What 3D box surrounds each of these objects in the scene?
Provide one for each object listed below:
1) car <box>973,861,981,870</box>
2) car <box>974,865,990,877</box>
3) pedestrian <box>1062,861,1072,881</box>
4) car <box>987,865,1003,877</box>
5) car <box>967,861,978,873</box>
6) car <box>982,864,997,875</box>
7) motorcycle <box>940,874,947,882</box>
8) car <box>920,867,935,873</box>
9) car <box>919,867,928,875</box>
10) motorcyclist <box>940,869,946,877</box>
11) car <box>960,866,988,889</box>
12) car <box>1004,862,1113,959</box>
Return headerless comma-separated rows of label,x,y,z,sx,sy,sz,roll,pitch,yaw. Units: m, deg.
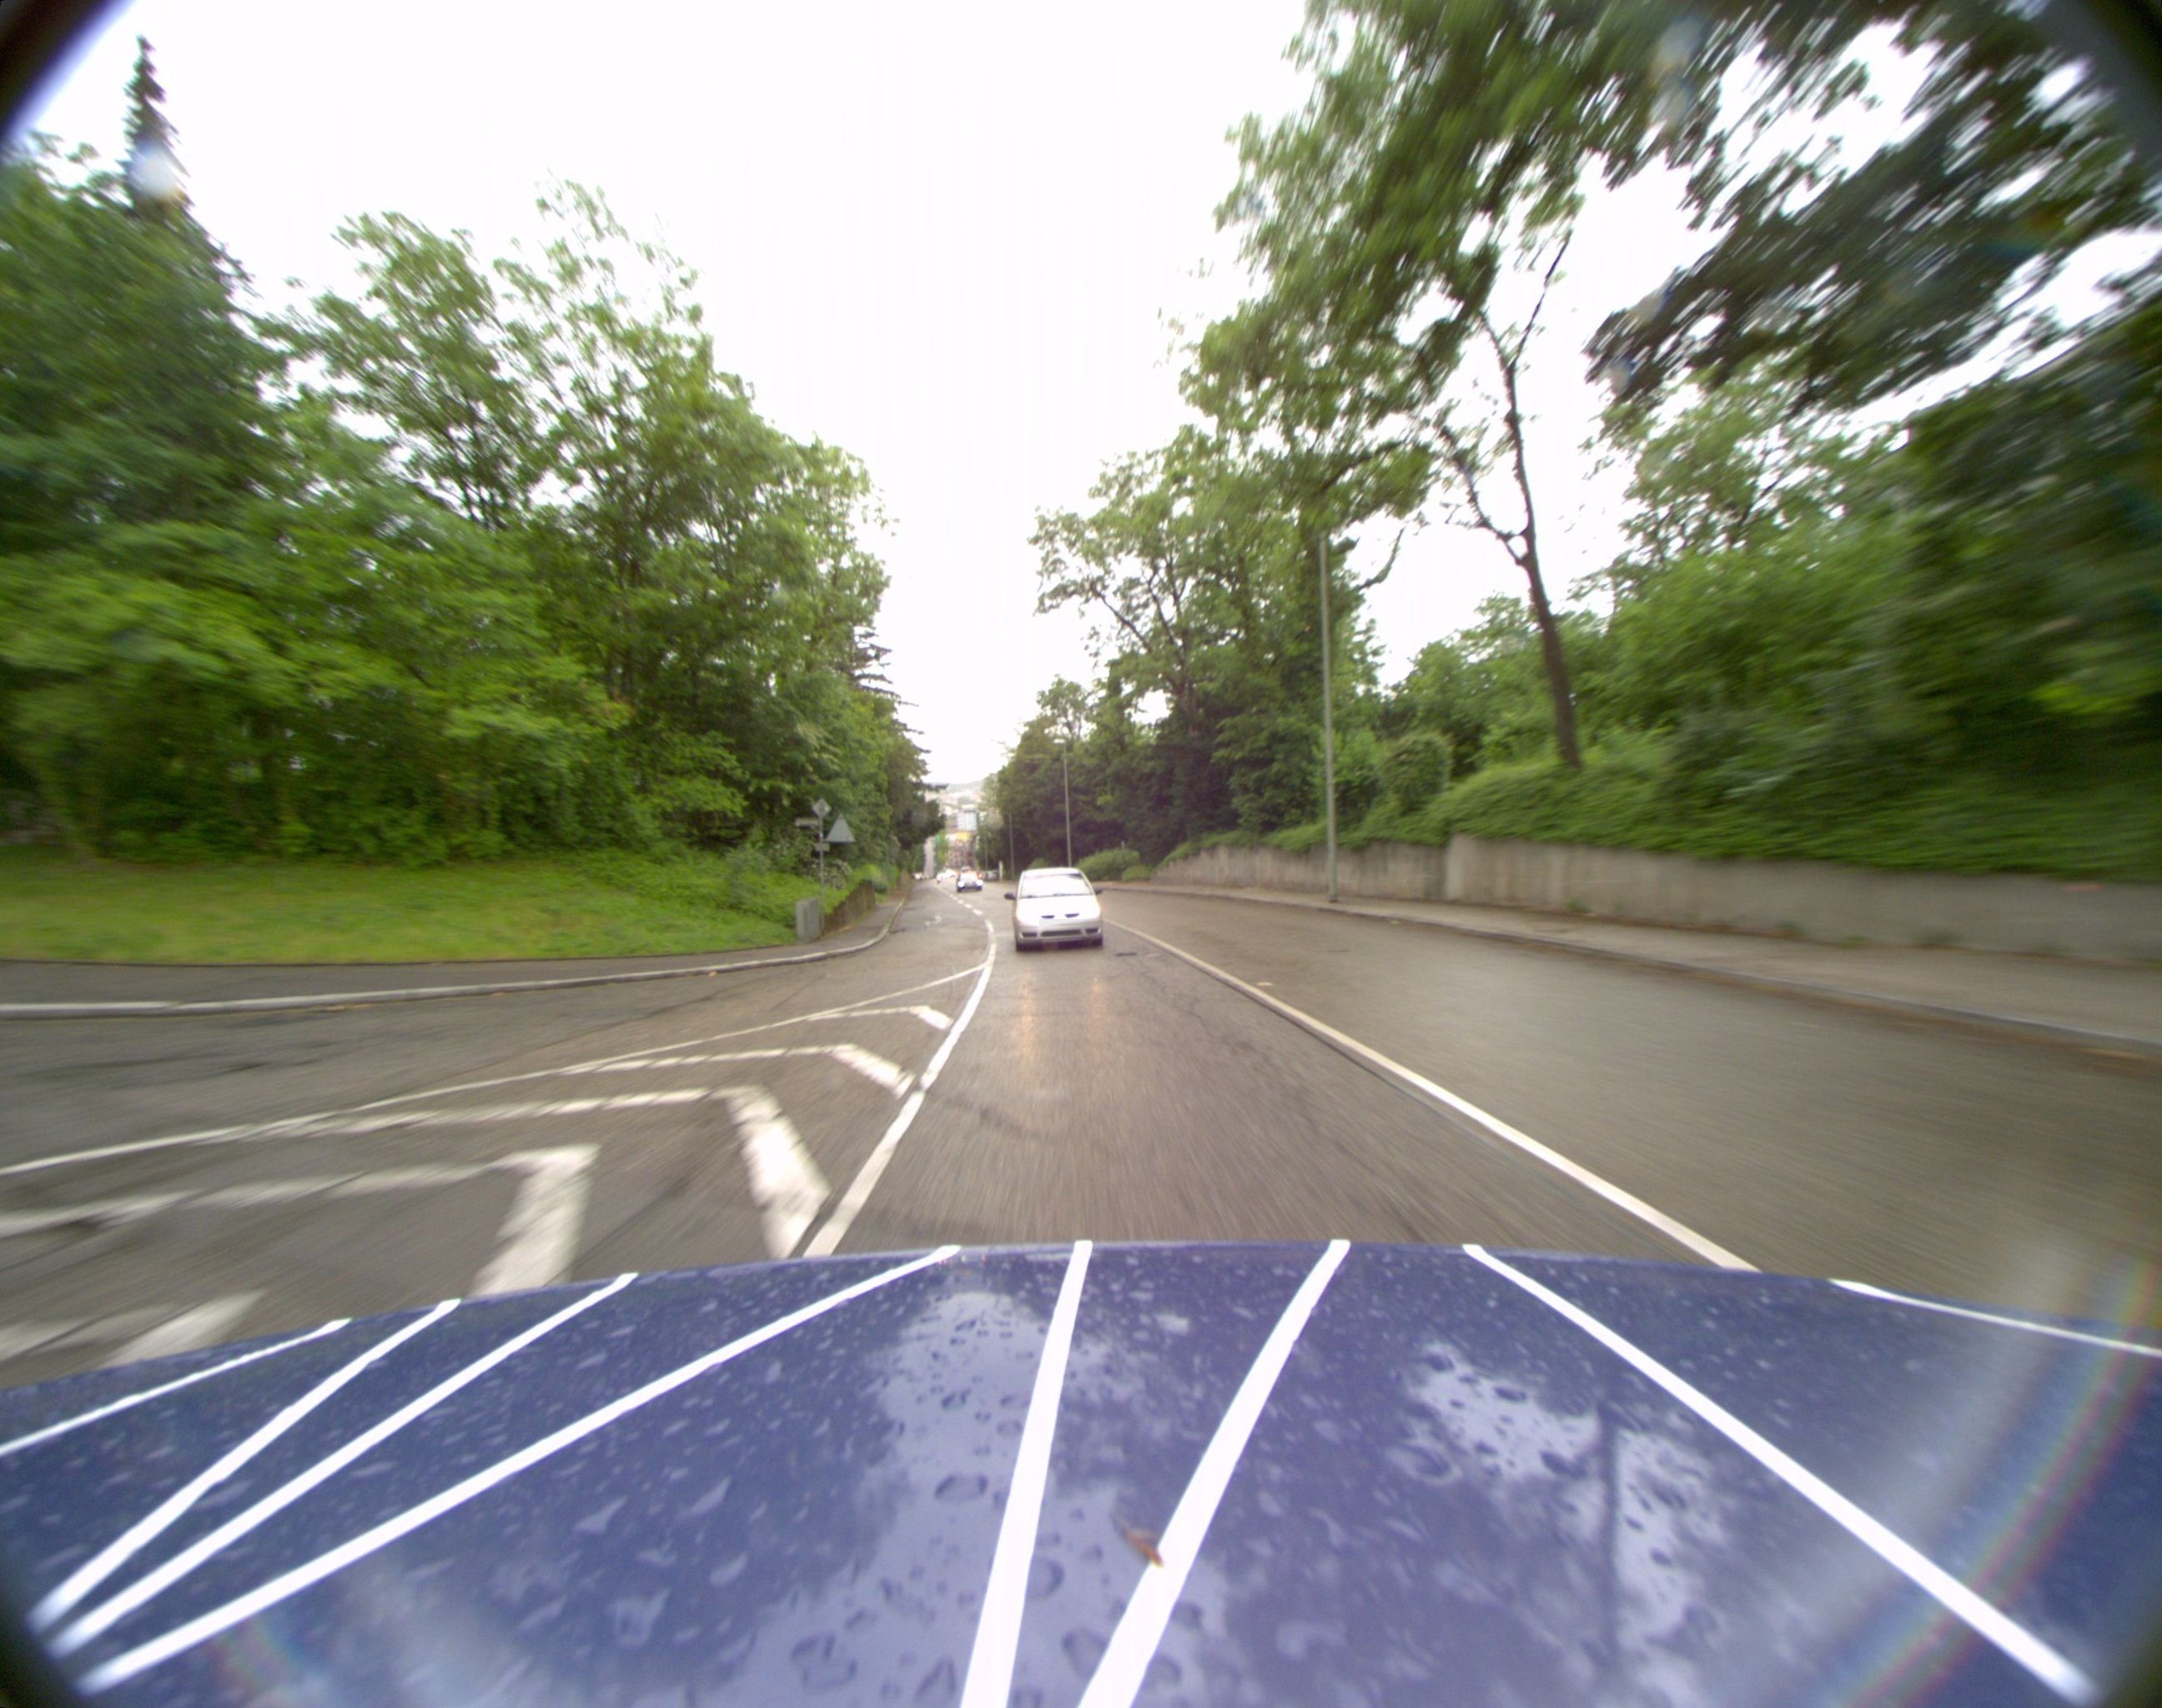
car,-31.158,3.406,227.159,2.124,2.535,5.440,-1,-1,-9
car,-12.936,2.229,98.980,1.681,1.487,3.457,-4,0,-12
pedestrian,-1.181,1.382,63.006,0.708,1.634,0.713,-4,0,-6
car,-12.113,2.400,107.215,1.632,1.490,3.924,-6,0,-14
car,-23.321,2.704,162.718,2.124,2.535,5.440,-1,-1,-9
car,-14.314,2.402,118.842,1.893,1.602,4.235,-1,-1,-11
motorcycle,-20.635,3.591,113.729,0.779,1.120,2.298,-5,0,-7
car,-43.944,4.573,217.565,4.197,1.565,1.802,0,-1,-9
car,-34.942,3.743,168.381,1.771,1.614,4.675,-3,0,-10
motorcyclist,-20.680,2.853,113.536,0.779,1.120,0.548,-5,1,-7
car,-8.353,1.817,59.214,2.000,1.603,3.964,-4,0,-9
car,-0.606,1.041,15.834,1.827,1.603,4.186,-4,0,-7
